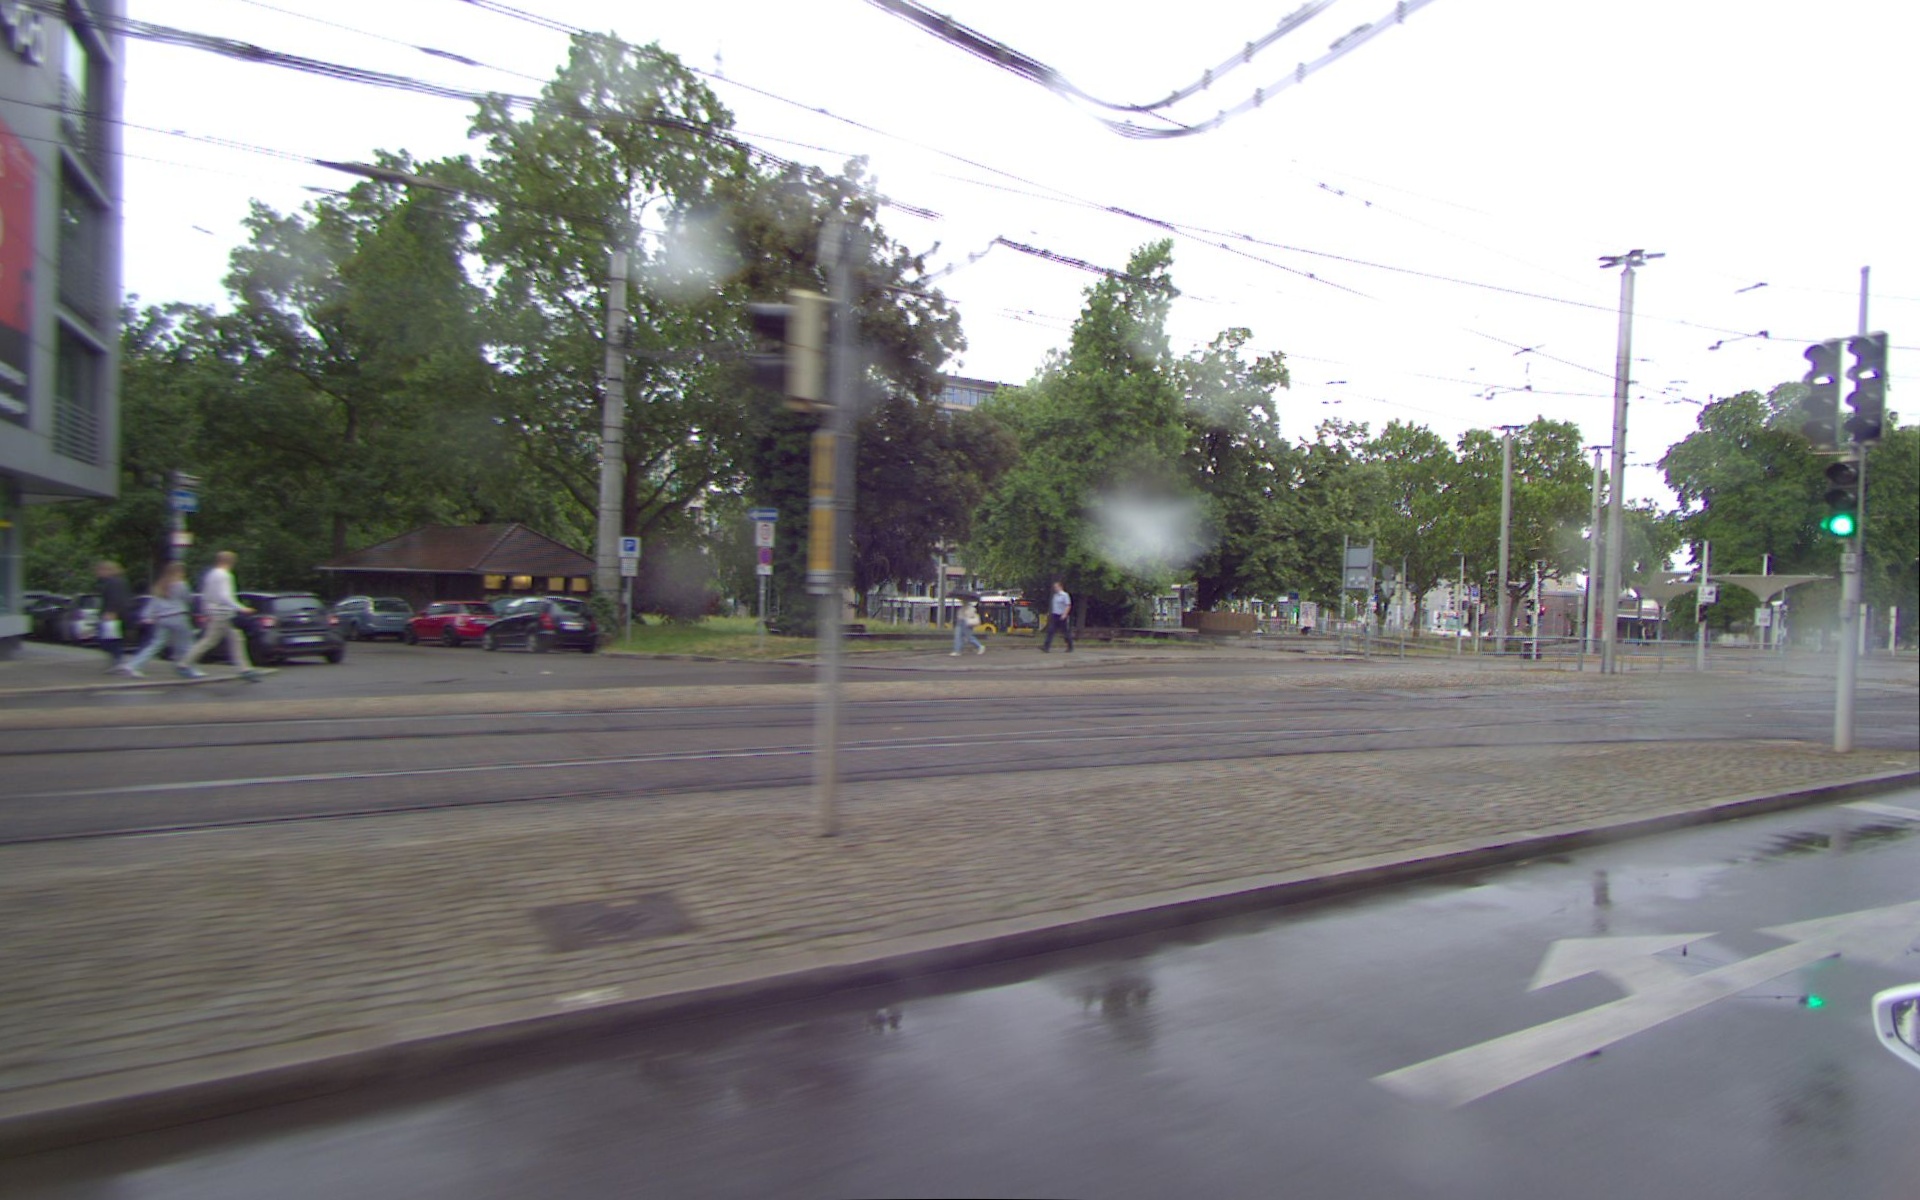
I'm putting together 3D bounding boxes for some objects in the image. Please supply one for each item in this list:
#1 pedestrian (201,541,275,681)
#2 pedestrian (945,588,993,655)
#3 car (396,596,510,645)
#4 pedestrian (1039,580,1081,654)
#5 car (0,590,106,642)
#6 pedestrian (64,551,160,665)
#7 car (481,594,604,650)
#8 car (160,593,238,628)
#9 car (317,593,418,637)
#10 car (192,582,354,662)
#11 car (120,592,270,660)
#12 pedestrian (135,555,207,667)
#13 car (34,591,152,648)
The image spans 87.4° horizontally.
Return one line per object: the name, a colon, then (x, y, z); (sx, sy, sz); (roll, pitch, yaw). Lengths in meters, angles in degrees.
pedestrian: (-10.921, 0.157, 15.195); (0.650, 2.041, 0.616); (4, 2, 22)
pedestrian: (0.236, 0.525, 25.495); (0.895, 1.615, 1.003); (3, 2, 16)
car: (-15.951, 0.636, 31.570); (3.481, 1.467, 1.698); (0, -1, 35)
pedestrian: (2.650, 0.433, 26.630); (0.895, 1.888, 1.004); (3, 2, 12)
car: (-28.823, 0.498, 31.854); (3.480, 1.575, 1.698); (0, -1, 33)
pedestrian: (-12.680, 0.113, 15.033); (0.579, 1.615, 0.964); (4, 2, 35)
car: (-11.705, 0.592, 28.098); (3.485, 1.467, 1.696); (0, -1, 38)
car: (-33.609, 0.453, 44.340); (3.481, 1.467, 1.698); (0, -1, 35)
car: (-20.670, 0.520, 34.998); (3.481, 1.467, 1.698); (0, -1, 35)
car: (-14.621, 0.447, 21.332); (3.680, 1.571, 1.697); (0, -1, 36)
car: (-18.144, 0.586, 23.802); (3.678, 1.473, 1.698); (0, -1, 33)
pedestrian: (-11.782, 0.161, 15.017); (0.625, 1.615, 0.587); (3, 2, -13)
car: (-25.340, 0.544, 29.338); (3.480, 1.575, 1.698); (0, -1, 33)
